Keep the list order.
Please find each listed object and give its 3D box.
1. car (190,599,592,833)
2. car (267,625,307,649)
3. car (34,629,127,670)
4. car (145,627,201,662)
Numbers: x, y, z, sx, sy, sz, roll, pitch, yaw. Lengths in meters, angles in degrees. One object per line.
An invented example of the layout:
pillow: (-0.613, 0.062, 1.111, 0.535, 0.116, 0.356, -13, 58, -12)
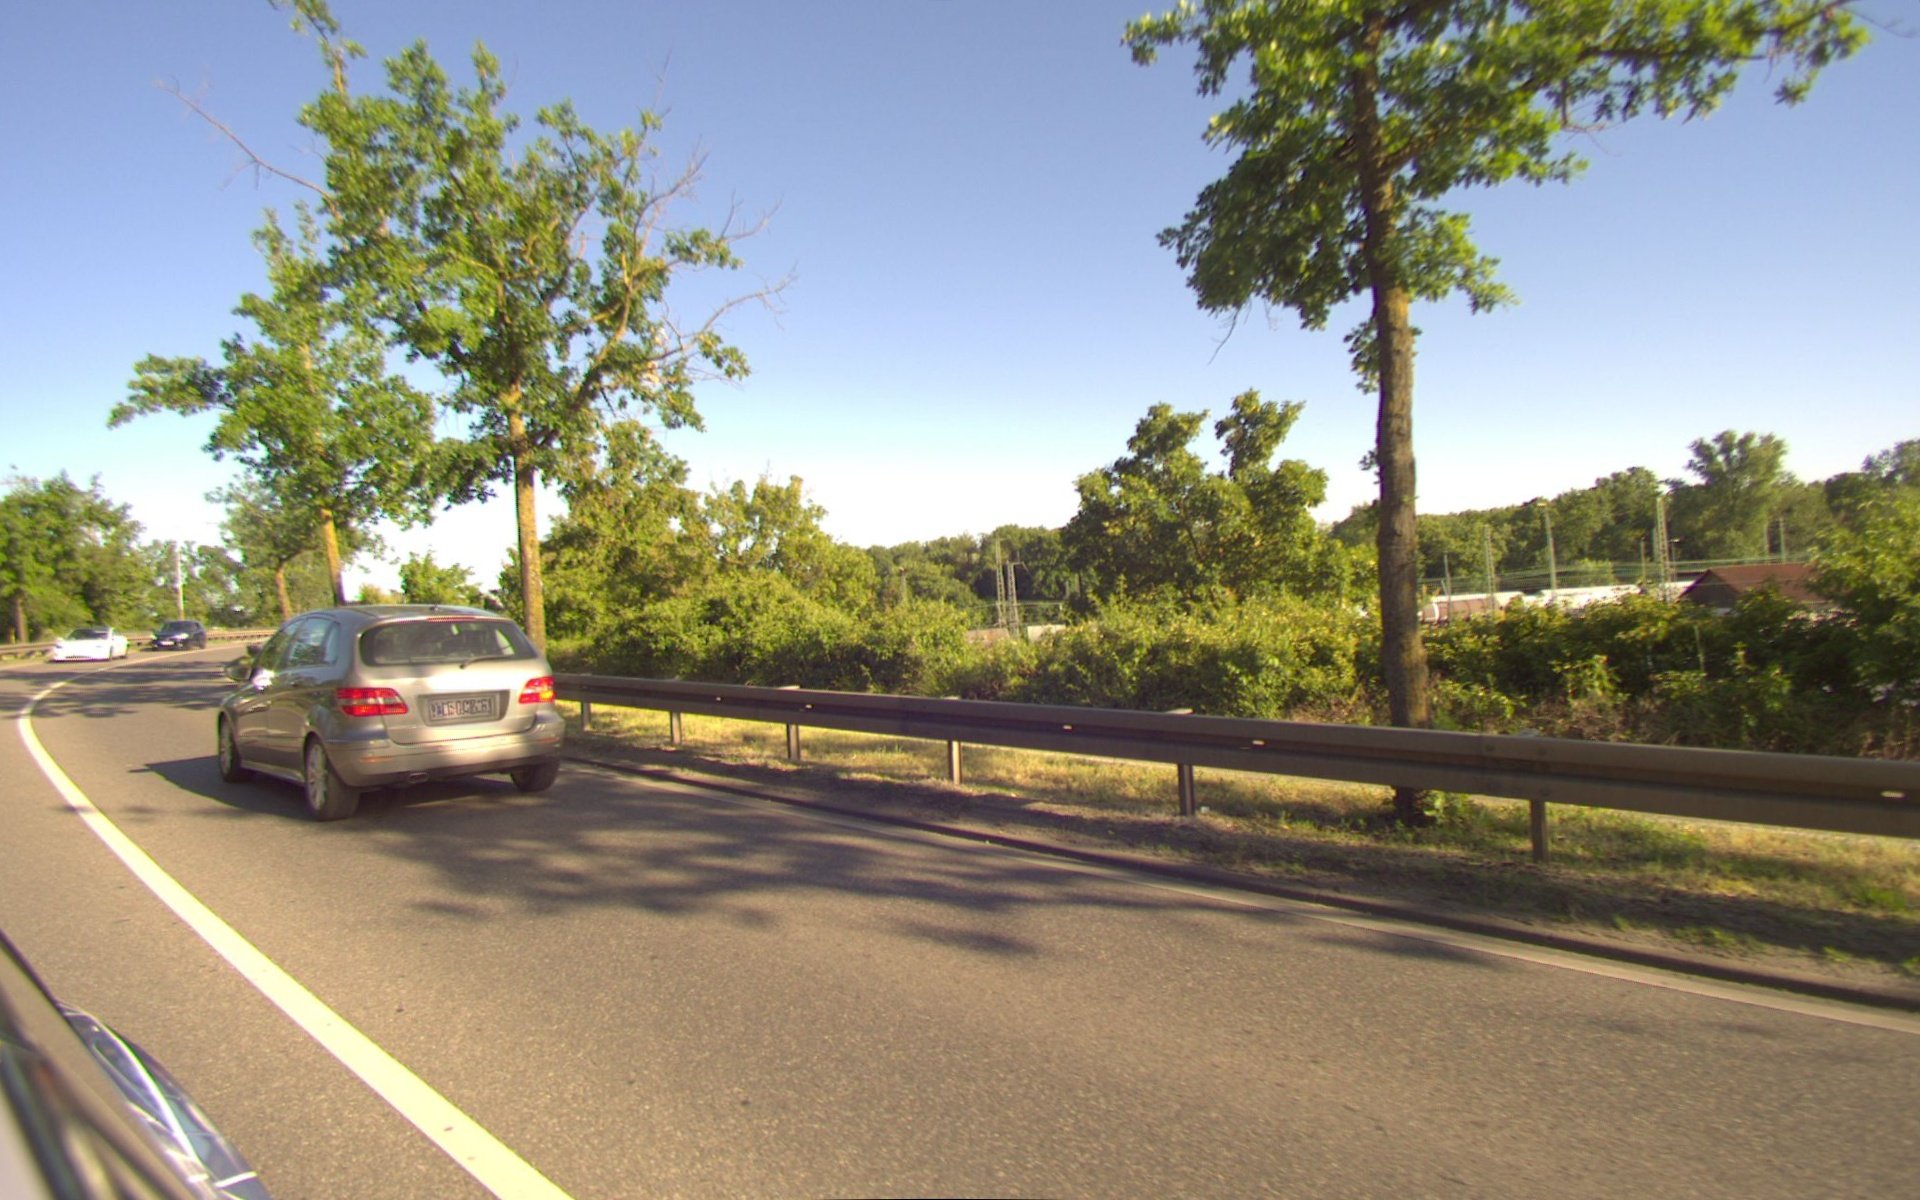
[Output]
car: (-5.112, 0.833, 8.850, 4.138, 1.566, 1.790, -2, -2, 41)
car: (-44.244, 2.410, 66.619, 1.671, 1.530, 3.994, 0, -1, -26)
car: (-36.693, 2.030, 42.363, 2.114, 1.579, 4.211, 0, -1, -29)
car: (-42.898, 2.401, 55.234, 1.655, 1.717, 3.617, -1, 0, -25)
